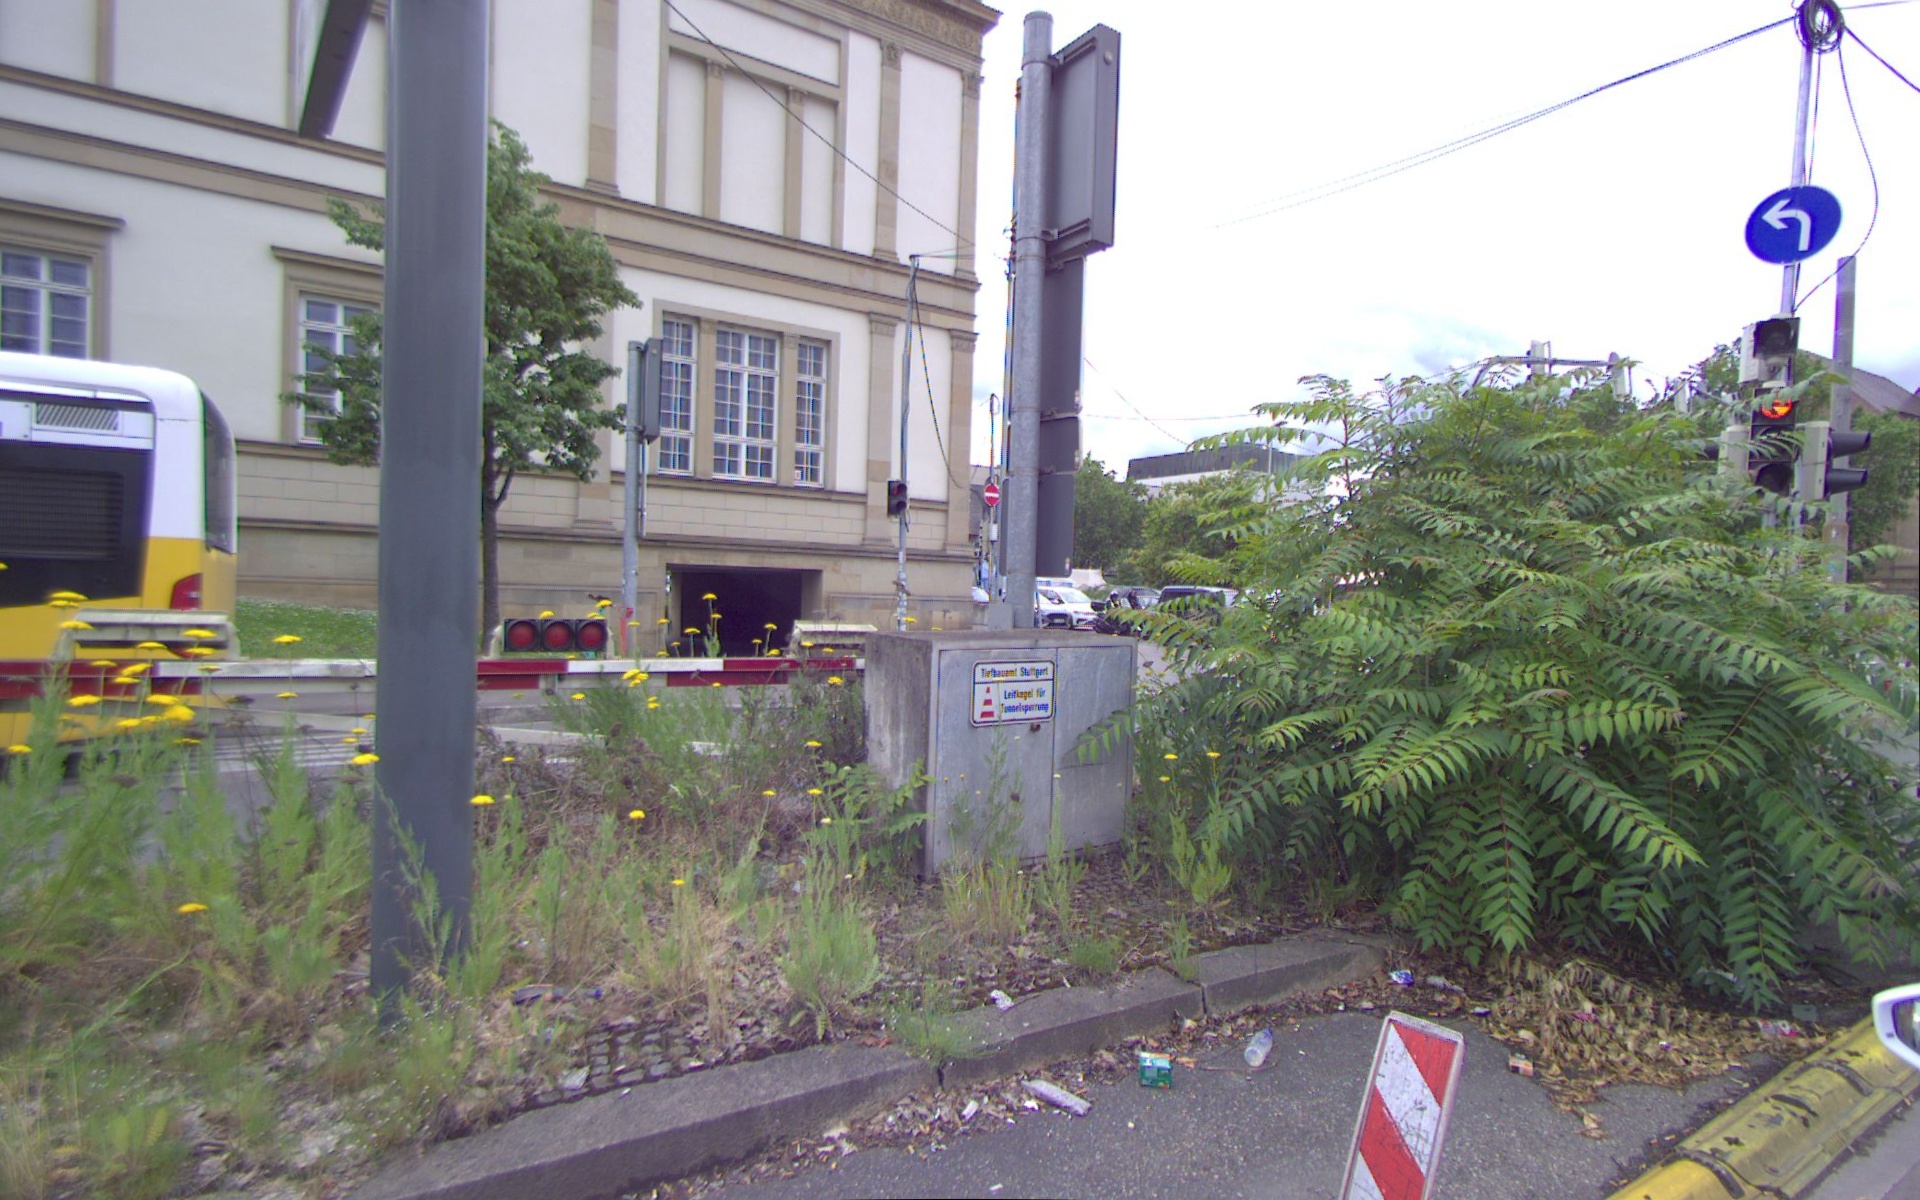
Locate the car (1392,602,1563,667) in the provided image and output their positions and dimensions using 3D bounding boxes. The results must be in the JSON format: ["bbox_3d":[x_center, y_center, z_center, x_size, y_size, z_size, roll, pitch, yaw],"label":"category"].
[{"bbox_3d":[16.281,1.034,31.727,4.440,1.783,1.989,2,0,42],"label":"car"}]

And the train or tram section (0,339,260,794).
[{"bbox_3d":[-10.152,-0.274,6.277,9.229,3.112,2.680,1,-1,-31],"label":"train or tram section"}]

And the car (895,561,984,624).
[{"bbox_3d":[-0.938,-0.326,43.755,1.978,2.585,4.083,2,0,-32],"label":"car"}]

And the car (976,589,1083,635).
[{"bbox_3d":[2.538,0.420,37.692,1.978,1.568,4.083,2,0,-32],"label":"car"}]

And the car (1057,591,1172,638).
[{"bbox_3d":[5.582,0.500,36.730,1.978,1.568,4.084,2,0,-32],"label":"car"}]

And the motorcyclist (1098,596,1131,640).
[{"bbox_3d":[5.042,0.587,32.759,0.690,1.398,0.784,2,0,-33],"label":"motorcyclist"}]

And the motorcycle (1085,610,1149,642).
[{"bbox_3d":[5.083,0.832,32.663,0.690,0.953,2.335,2,0,-32],"label":"motorcycle"}]

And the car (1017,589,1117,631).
[{"bbox_3d":[4.290,0.369,40.808,1.978,1.568,4.085,2,0,-31],"label":"car"}]
